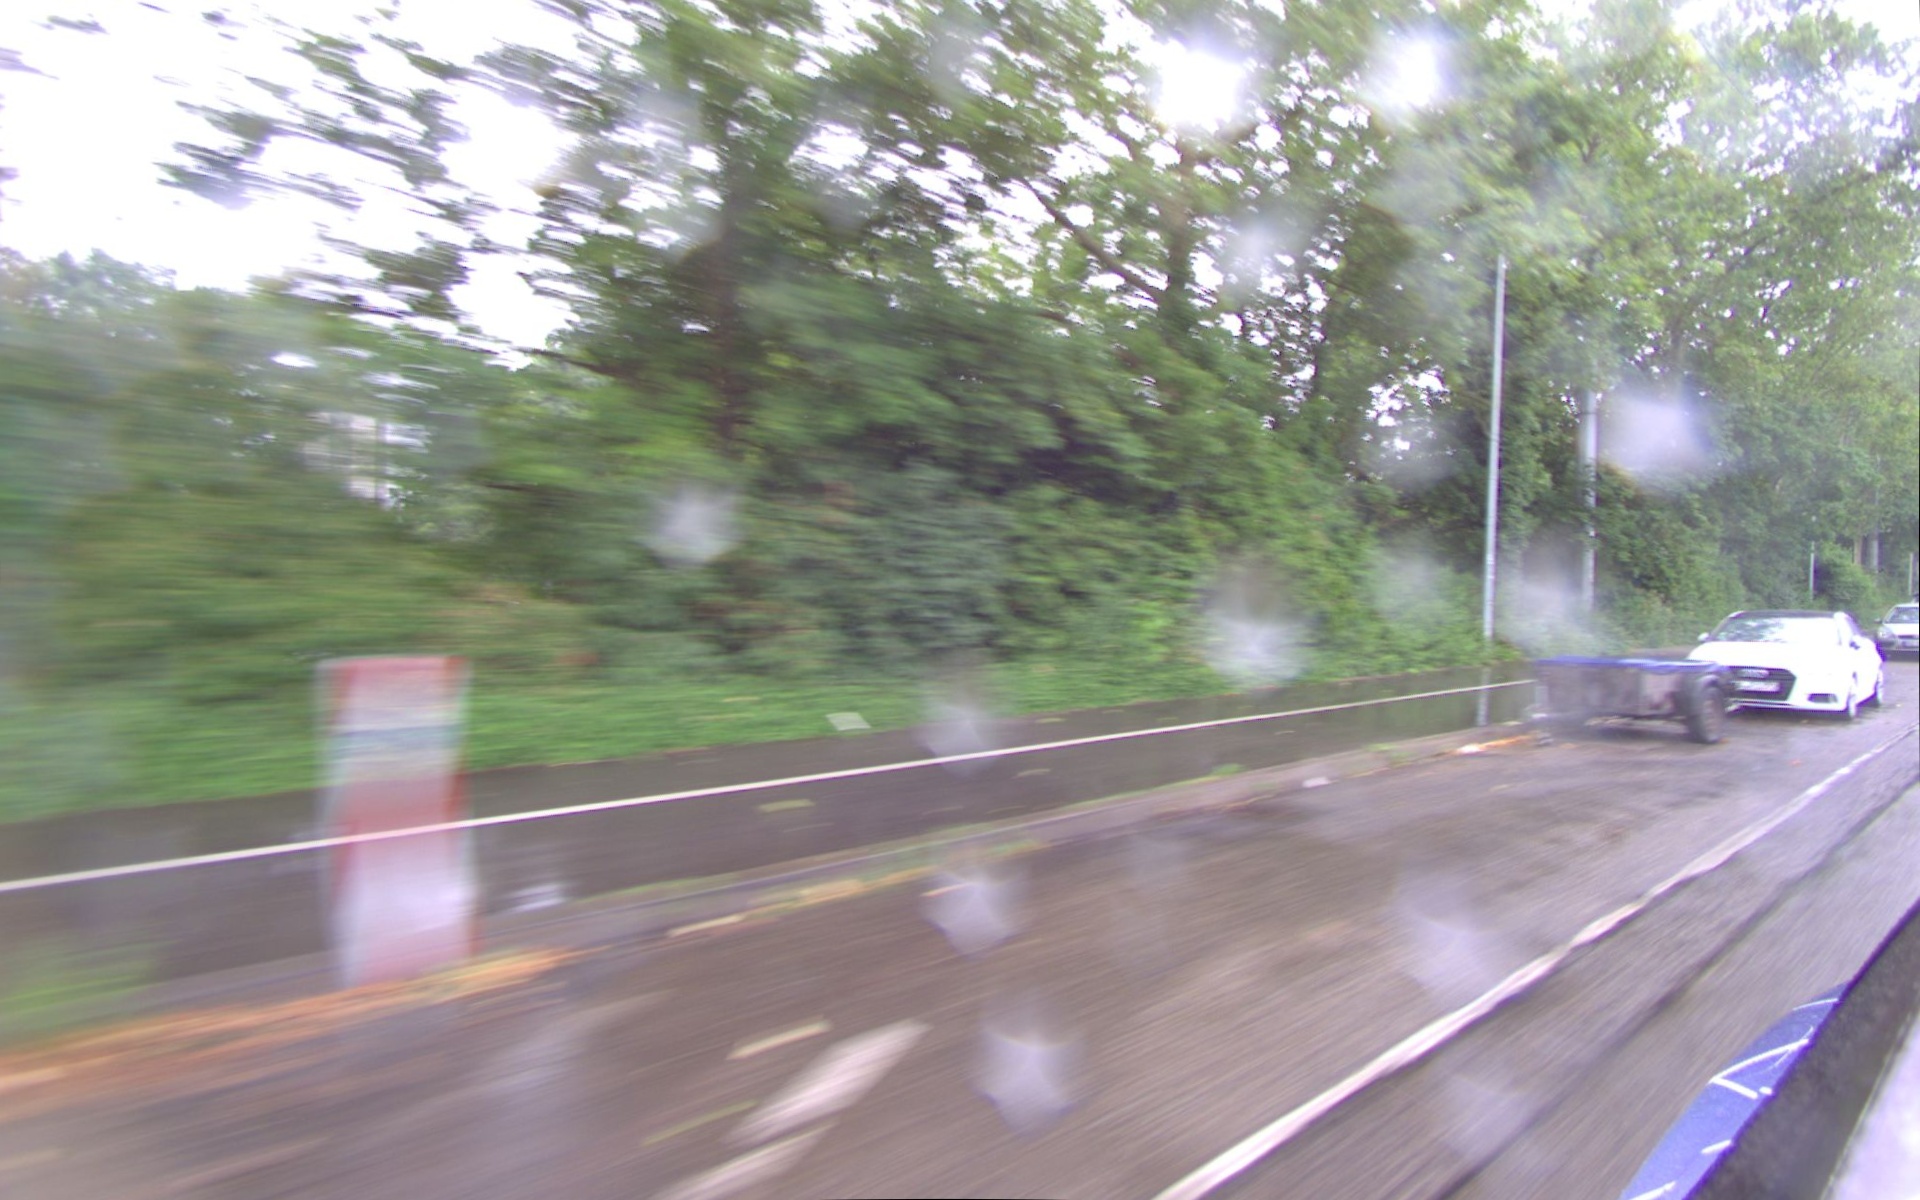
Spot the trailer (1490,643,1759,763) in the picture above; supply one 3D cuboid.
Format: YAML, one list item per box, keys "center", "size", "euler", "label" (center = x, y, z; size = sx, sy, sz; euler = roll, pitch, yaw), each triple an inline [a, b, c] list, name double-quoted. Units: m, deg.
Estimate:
- center: [7.014, 0.980, 10.584]
  size: [3.218, 0.949, 1.545]
  euler: [1, -1, -41]
  label: "trailer"

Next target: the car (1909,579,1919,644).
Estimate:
- center: [30.746, 0.379, 31.035]
  size: [4.122, 1.933, 1.997]
  euler: [1, -1, -41]
  label: "car"

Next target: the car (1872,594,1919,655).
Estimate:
- center: [25.729, 0.646, 26.694]
  size: [4.122, 1.525, 1.997]
  euler: [1, -1, -41]
  label: "car"

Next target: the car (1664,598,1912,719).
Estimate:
- center: [11.538, 0.711, 14.021]
  size: [4.122, 1.421, 1.997]
  euler: [1, -1, -41]
  label: "car"
